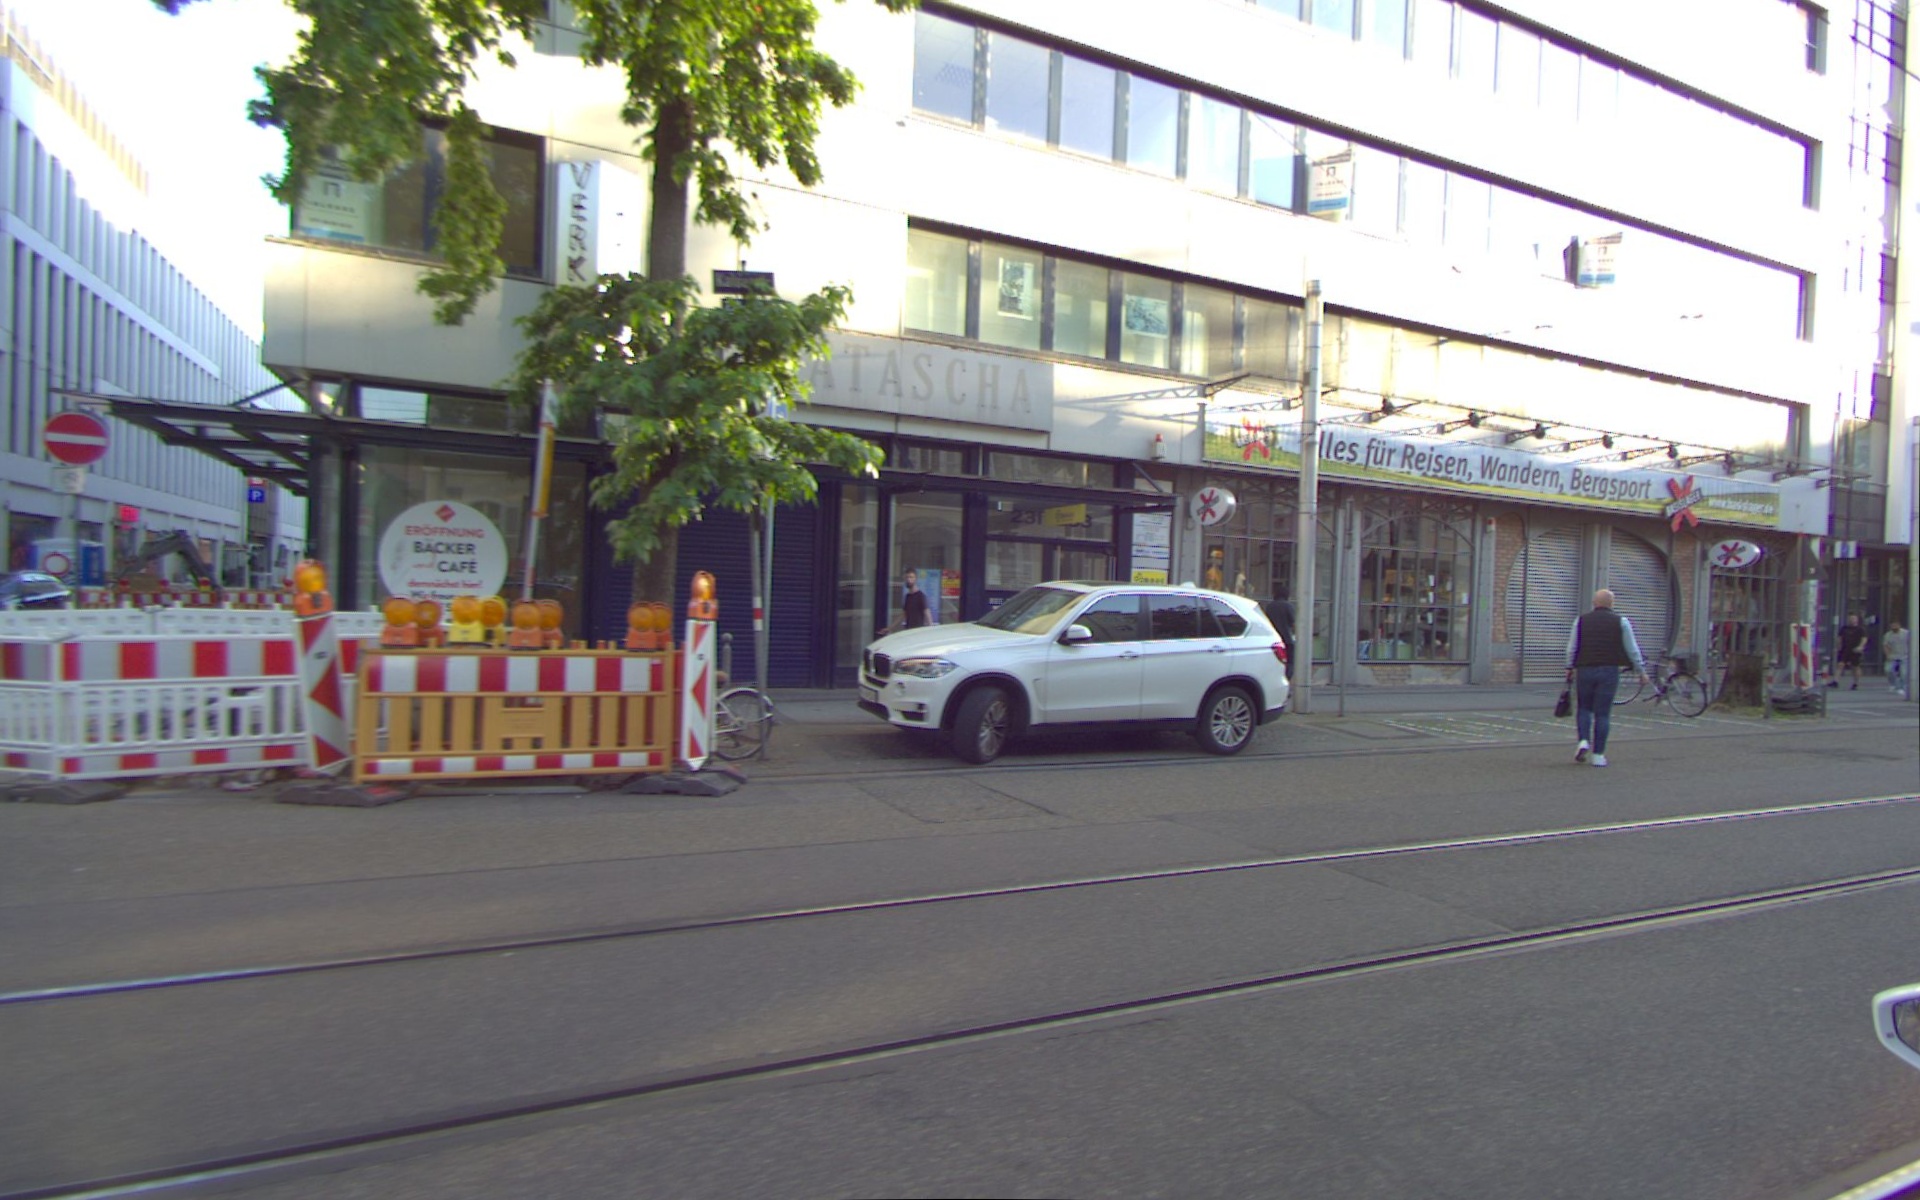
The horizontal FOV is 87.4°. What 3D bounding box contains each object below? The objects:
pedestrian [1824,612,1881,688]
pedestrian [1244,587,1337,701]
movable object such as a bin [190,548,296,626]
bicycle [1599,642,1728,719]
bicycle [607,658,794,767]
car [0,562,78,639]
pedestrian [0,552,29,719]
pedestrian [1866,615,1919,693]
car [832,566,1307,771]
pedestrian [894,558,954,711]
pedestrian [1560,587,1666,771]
[{"bbox_3d":[21.033,1.182,23.676,0.795,1.736,0.626,2,2,-21],"label":"pedestrian"},{"bbox_3d":[5.271,0.691,16.045,1.023,1.718,0.830,1,3,-25],"label":"pedestrian"},{"bbox_3d":[-25.983,-0.454,36.602,2.165,2.569,5.290,1,0,-25],"label":"movable object such as a bin"},{"bbox_3d":[11.391,1.282,16.340,0.470,1.006,1.744,1,4,-17],"label":"bicycle"},{"bbox_3d":[-2.253,0.970,8.738,1.511,0.848,0.501,2,3,-19],"label":"bicycle"},{"bbox_3d":[-21.104,-0.033,21.777,1.815,1.562,3.977,1,1,-23],"label":"car"},{"bbox_3d":[-9.901,0.347,9.976,0.713,1.668,0.610,1,0,-9],"label":"pedestrian"},{"bbox_3d":[21.458,1.227,23.030,0.817,1.736,0.640,2,2,-21],"label":"pedestrian"},{"bbox_3d":[1.191,0.628,10.763,4.680,1.778,1.987,1,2,-25],"label":"car"},{"bbox_3d":[-0.504,0.465,13.825,0.584,2.040,0.612,1,0,-26],"label":"pedestrian"},{"bbox_3d":[6.749,0.782,10.426,0.838,1.790,0.830,2,1,31],"label":"pedestrian"}]
